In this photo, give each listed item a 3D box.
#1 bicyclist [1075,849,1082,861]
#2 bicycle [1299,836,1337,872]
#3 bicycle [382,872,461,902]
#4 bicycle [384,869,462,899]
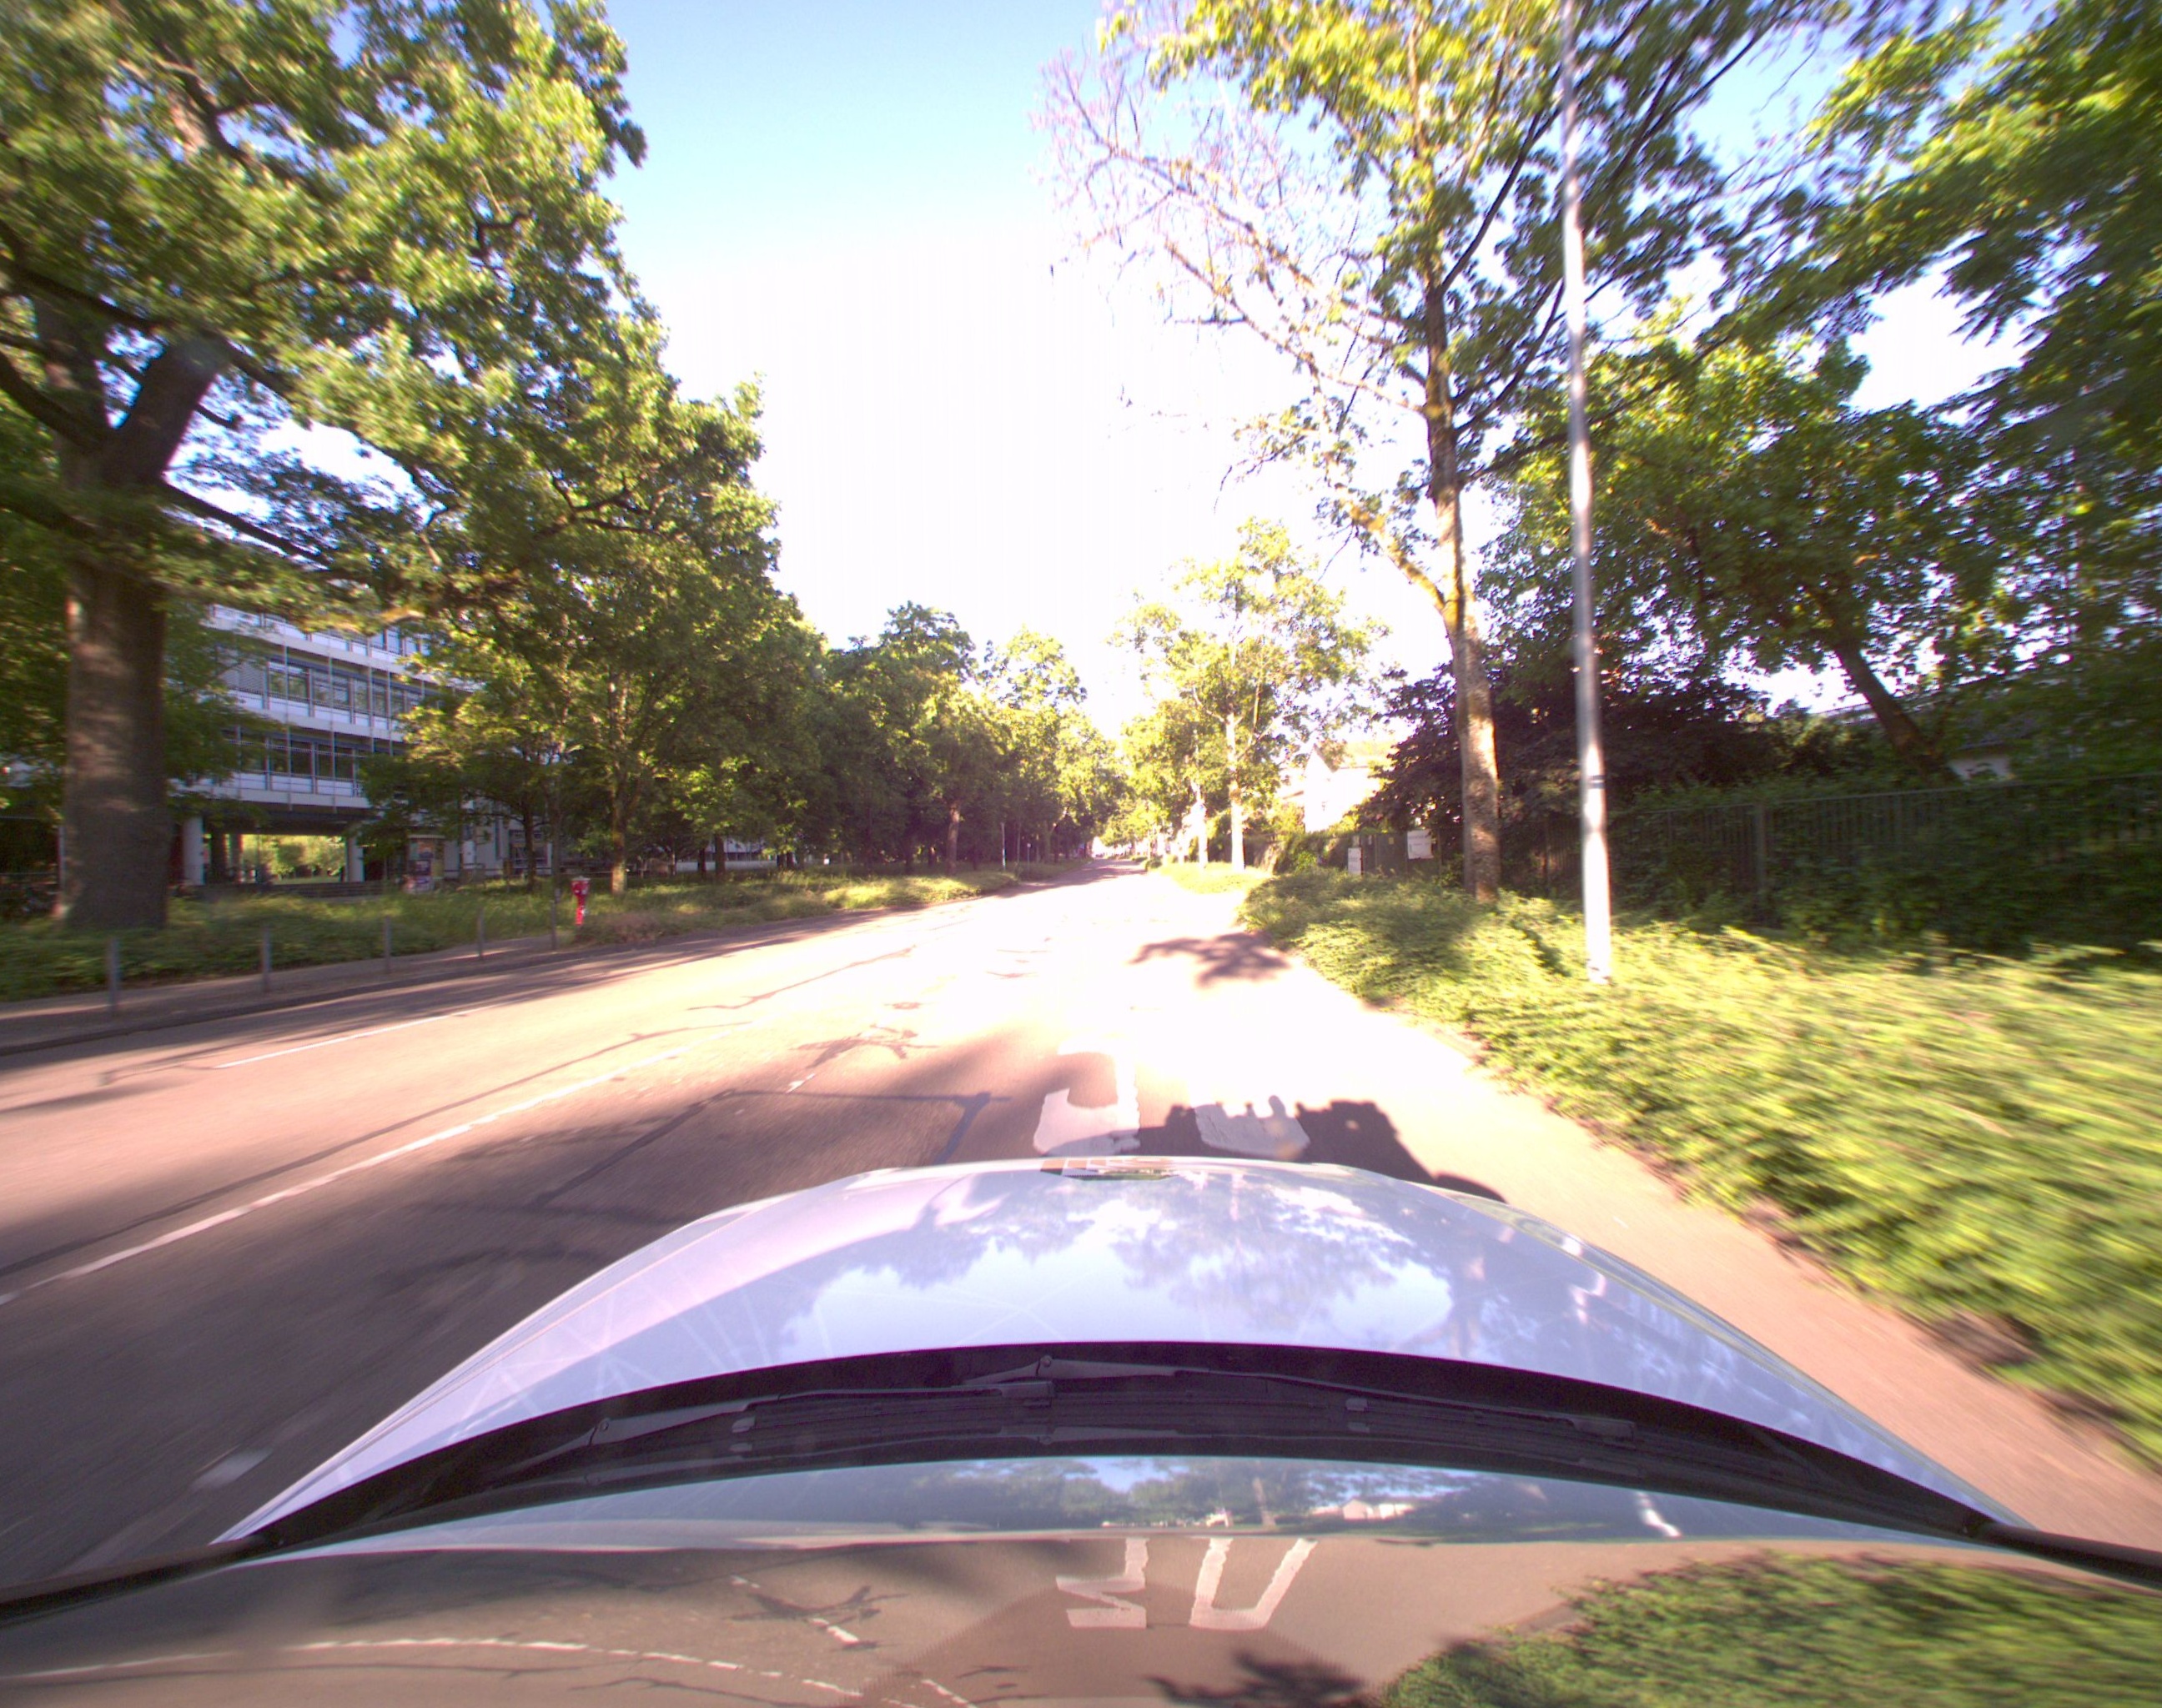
[{"bbox_3d":[-0.341,0.168,118.603,0.863,1.641,1.115,0,1,2],"label":"bicyclist"},{"bbox_3d":[8.772,-0.026,30.079,0.875,1.200,2.340,-4,0,27],"label":"bicycle"},{"bbox_3d":[-26.867,1.337,33.212,0.530,1.071,2.444,2,2,41],"label":"bicycle"},{"bbox_3d":[-27.771,1.245,34.447,0.531,1.071,2.648,3,2,20],"label":"bicycle"}]
